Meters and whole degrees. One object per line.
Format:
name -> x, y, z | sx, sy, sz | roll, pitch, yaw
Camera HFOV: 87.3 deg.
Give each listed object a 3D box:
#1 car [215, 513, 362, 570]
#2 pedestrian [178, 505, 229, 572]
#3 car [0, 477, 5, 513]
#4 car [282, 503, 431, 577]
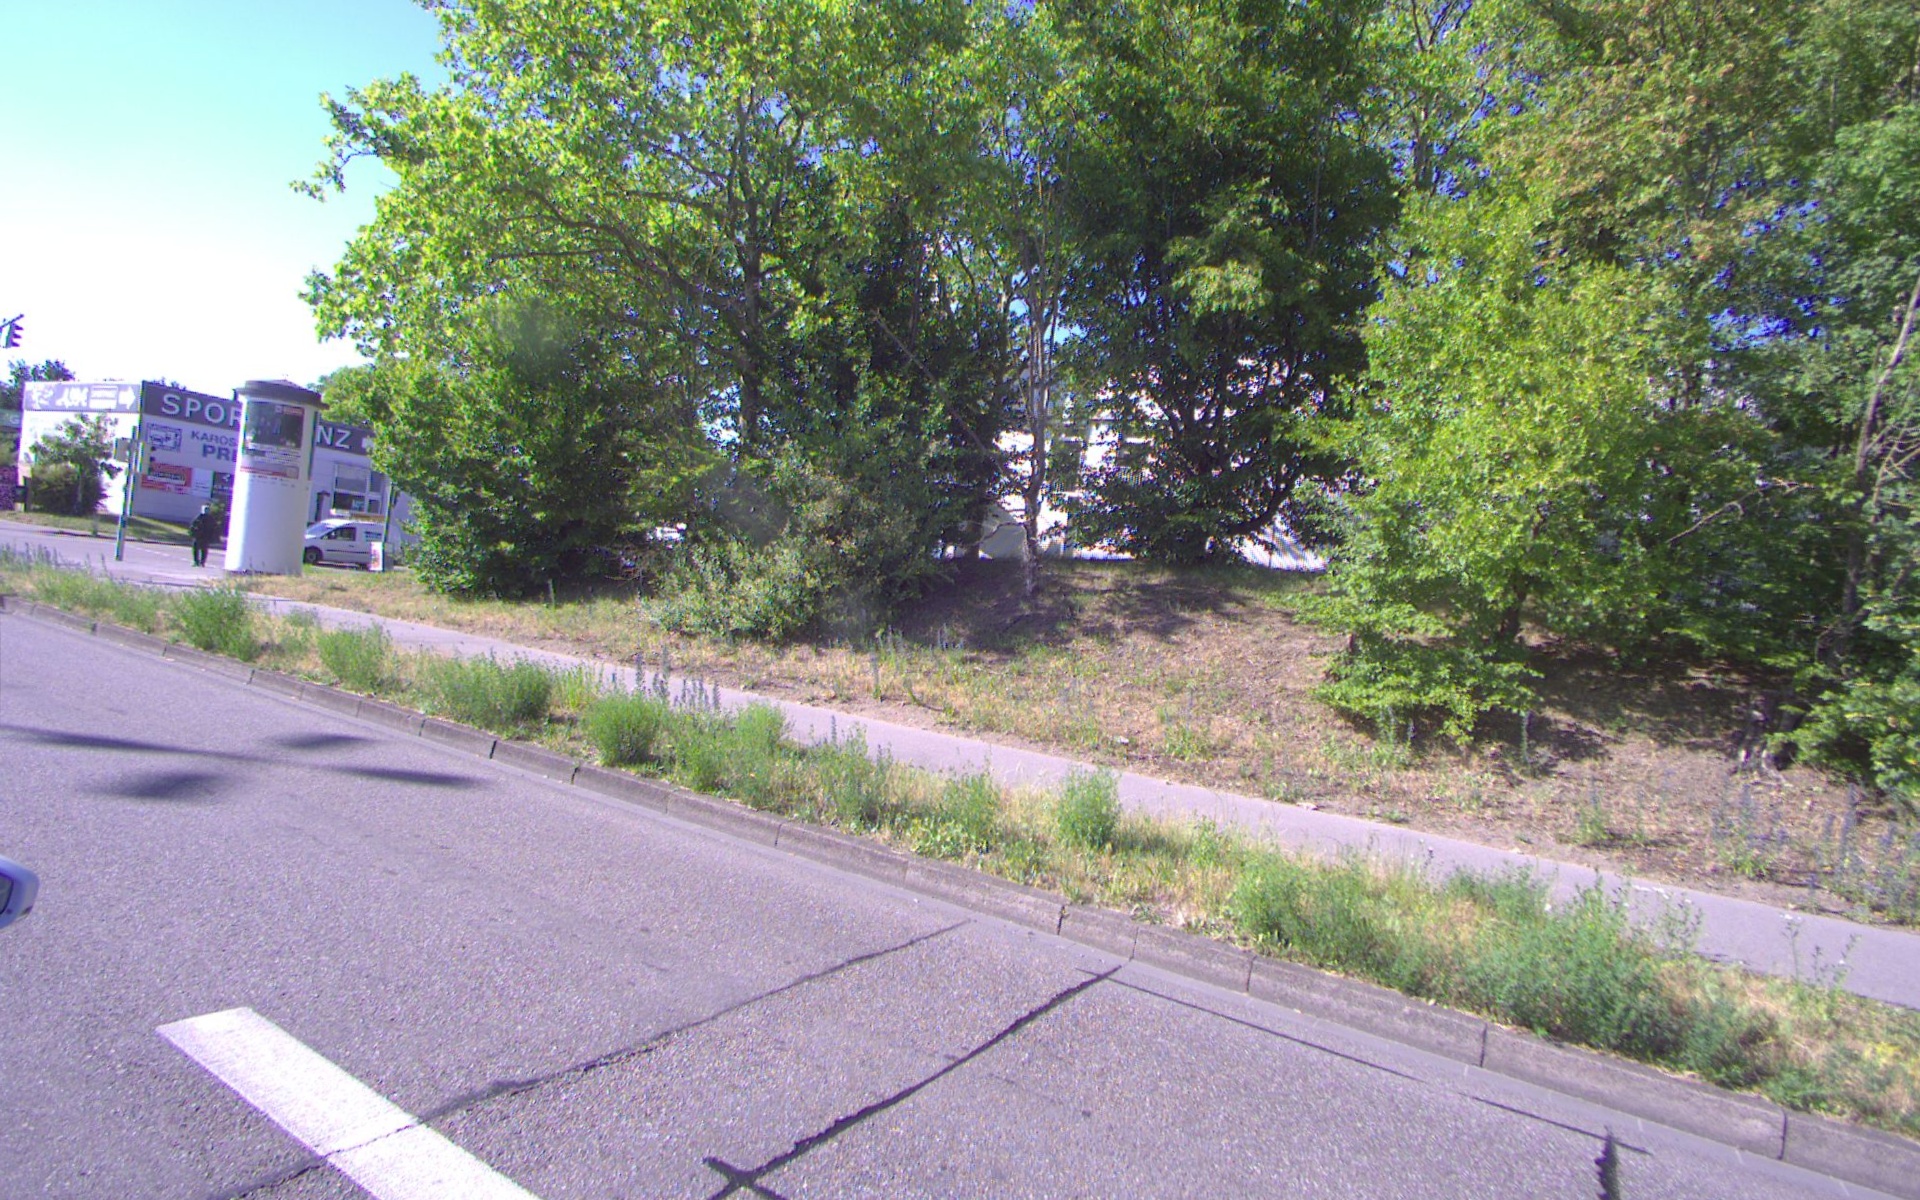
car -> -26.839, -2.288, 40.358 | 1.965, 1.571, 4.415 | 7, -1, 28
pedestrian -> -21.149, -1.716, 28.117 | 0.841, 1.743, 0.822 | 7, 0, 39
car -> -48.295, -5.352, 47.699 | 1.663, 1.726, 4.003 | 7, -1, 16
car -> -23.396, -2.293, 39.186 | 1.965, 2.171, 4.415 | 7, -1, 28
